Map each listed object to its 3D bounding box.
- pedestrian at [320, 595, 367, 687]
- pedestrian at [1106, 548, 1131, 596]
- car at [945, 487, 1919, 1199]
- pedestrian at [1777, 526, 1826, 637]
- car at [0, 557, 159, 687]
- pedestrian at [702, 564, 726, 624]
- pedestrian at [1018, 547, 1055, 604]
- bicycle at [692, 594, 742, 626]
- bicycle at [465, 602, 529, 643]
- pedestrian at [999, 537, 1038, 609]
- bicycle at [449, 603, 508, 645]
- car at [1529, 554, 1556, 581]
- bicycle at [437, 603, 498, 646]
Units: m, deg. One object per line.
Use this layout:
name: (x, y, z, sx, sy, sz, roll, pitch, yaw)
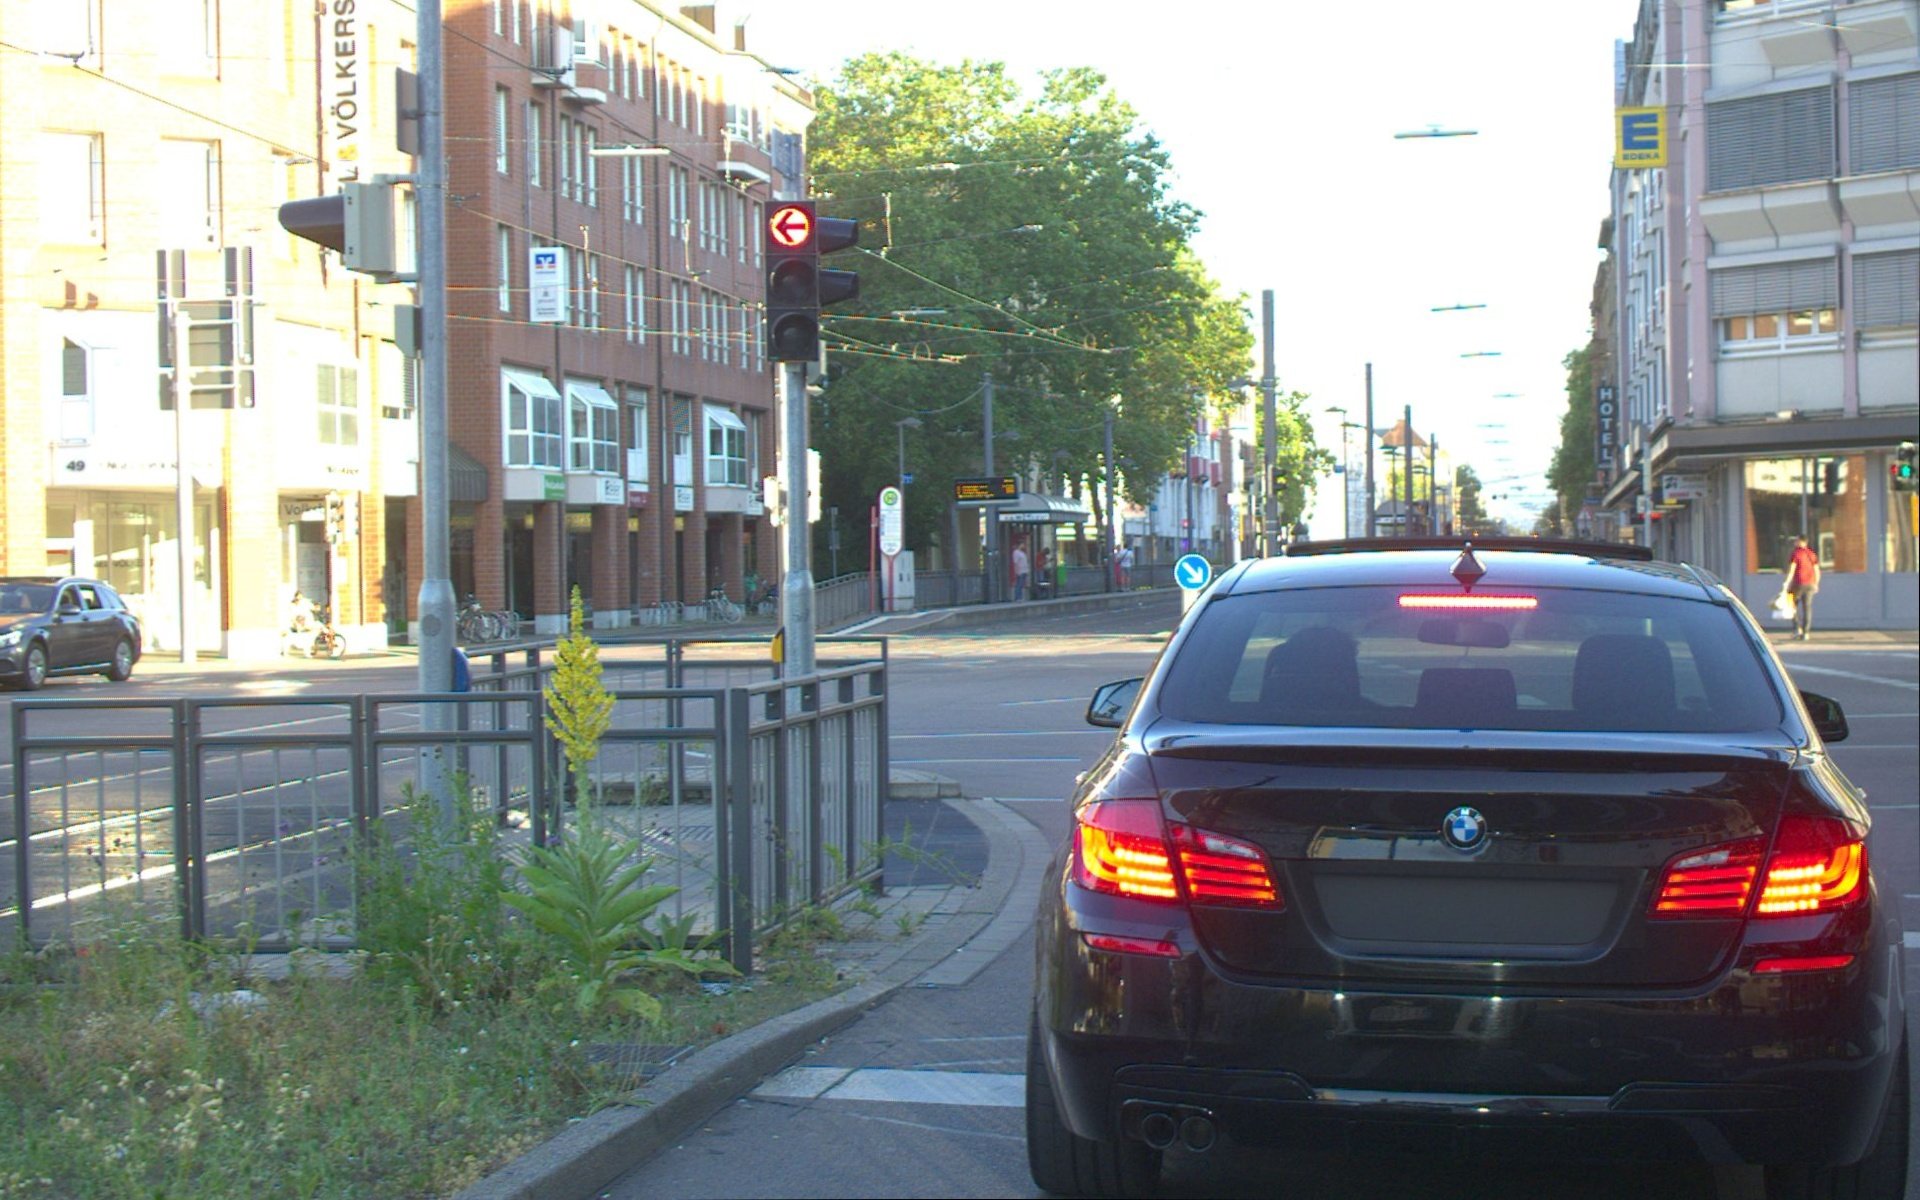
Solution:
pedestrian: (-12.675, 0.836, 70.698, 0.633, 1.861, 0.677, 2, 1, 36)
pedestrian: (5.612, -1.006, 121.703, 0.724, 1.675, 0.990, -1, 1, 12)
car: (1.169, 0.558, 8.425, 1.994, 1.579, 3.999, 1, 1, 6)
pedestrian: (14.177, -0.321, 57.937, 0.684, 1.848, 0.671, -1, 1, 6)
car: (-12.273, 0.261, 45.016, 1.994, 1.579, 4.478, -1, 1, 7)
pedestrian: (-6.986, -0.170, 97.563, 0.486, 1.675, 0.654, -1, 1, 14)
pedestrian: (2.276, -0.724, 102.574, 0.988, 1.675, 0.726, -1, 1, 9)
bicycle: (-7.046, 0.289, 99.647, 1.412, 0.919, 0.403, 1, 1, -3)
bicycle: (-10.631, 0.517, 78.957, 1.412, 0.919, 0.444, 1, 1, -6)
pedestrian: (1.661, -0.767, 97.429, 0.988, 2.007, 0.725, 1, 1, 9)
bicycle: (-10.869, 0.536, 77.596, 1.285, 0.919, 0.349, 1, 1, -6)
car: (32.909, -1.836, 194.233, 1.473, 1.509, 3.095, -1, 1, 9)
bicycle: (-11.031, 0.544, 76.968, 1.286, 0.919, 0.349, 1, 1, 6)
